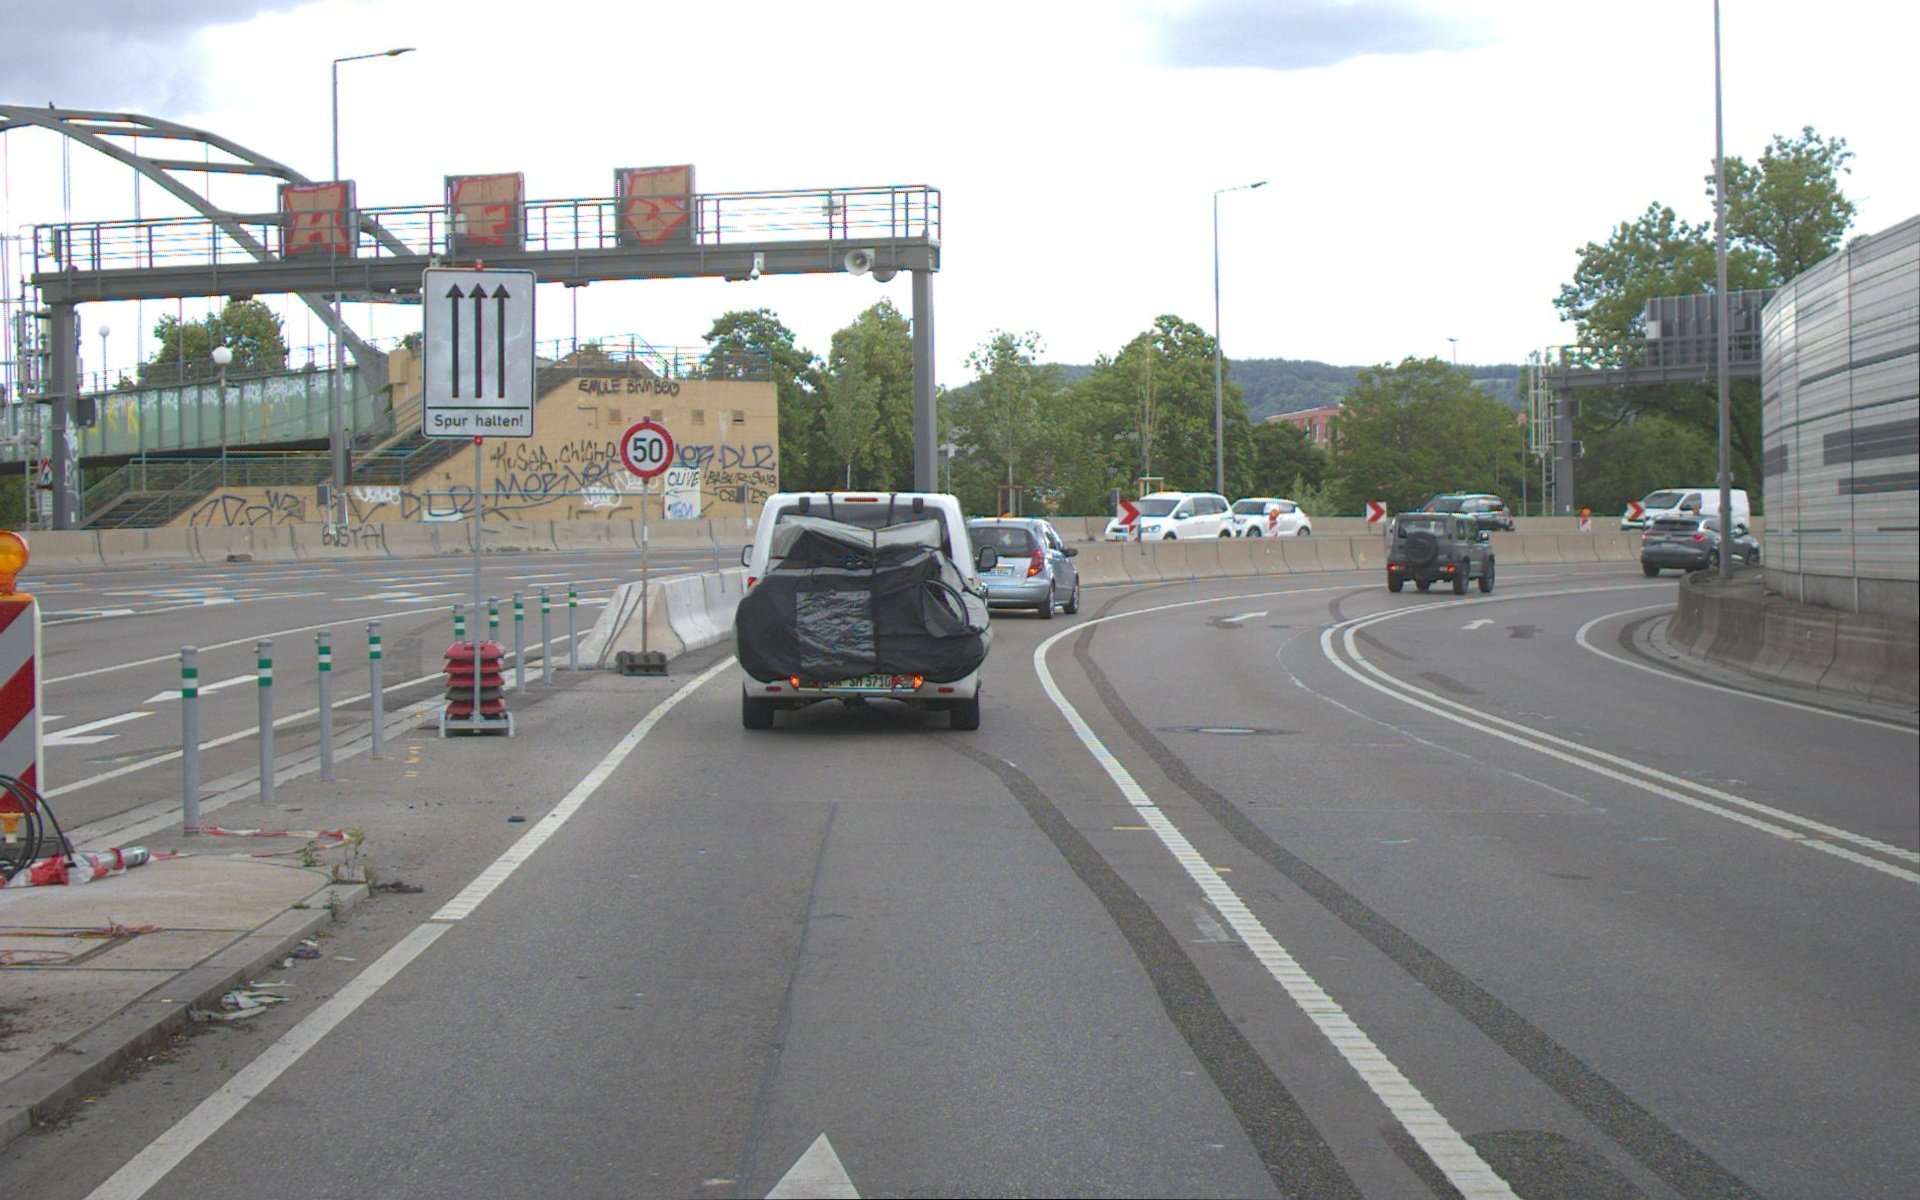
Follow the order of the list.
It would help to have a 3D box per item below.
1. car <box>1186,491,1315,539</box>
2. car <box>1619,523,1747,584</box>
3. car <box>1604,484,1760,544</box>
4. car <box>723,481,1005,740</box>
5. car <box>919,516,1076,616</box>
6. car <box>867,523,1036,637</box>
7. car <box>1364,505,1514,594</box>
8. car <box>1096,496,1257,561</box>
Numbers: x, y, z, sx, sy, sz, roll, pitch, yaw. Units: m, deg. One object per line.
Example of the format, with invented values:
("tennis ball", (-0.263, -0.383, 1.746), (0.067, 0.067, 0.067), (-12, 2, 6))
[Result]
("car", (8.928, -2.591, 105.356), (1.764, 1.429, 4.134), (1, 2, 43))
("car", (18.619, -1.222, 88.468), (2.015, 1.483, 4.058), (1, 2, 31))
("car", (23.998, -2.868, 114.258), (5.089, 1.945, 2.244), (-1, 2, -37))
("car", (-0.888, 0.039, 27.812), (1.992, 1.853, 5.642), (1, 1, -4))
("car", (0.645, -0.576, 55.178), (1.921, 1.483, 4.064), (0, 2, 9))
("car", (-0.062, -0.290, 45.886), (1.815, 1.429, 4.064), (-1, 1, 6))
("car", (10.265, -1.087, 73.464), (1.996, 1.853, 3.994), (1, 1, 27))
("car", (6.025, -1.976, 95.010), (1.954, 1.744, 5.264), (1, 1, 35))
